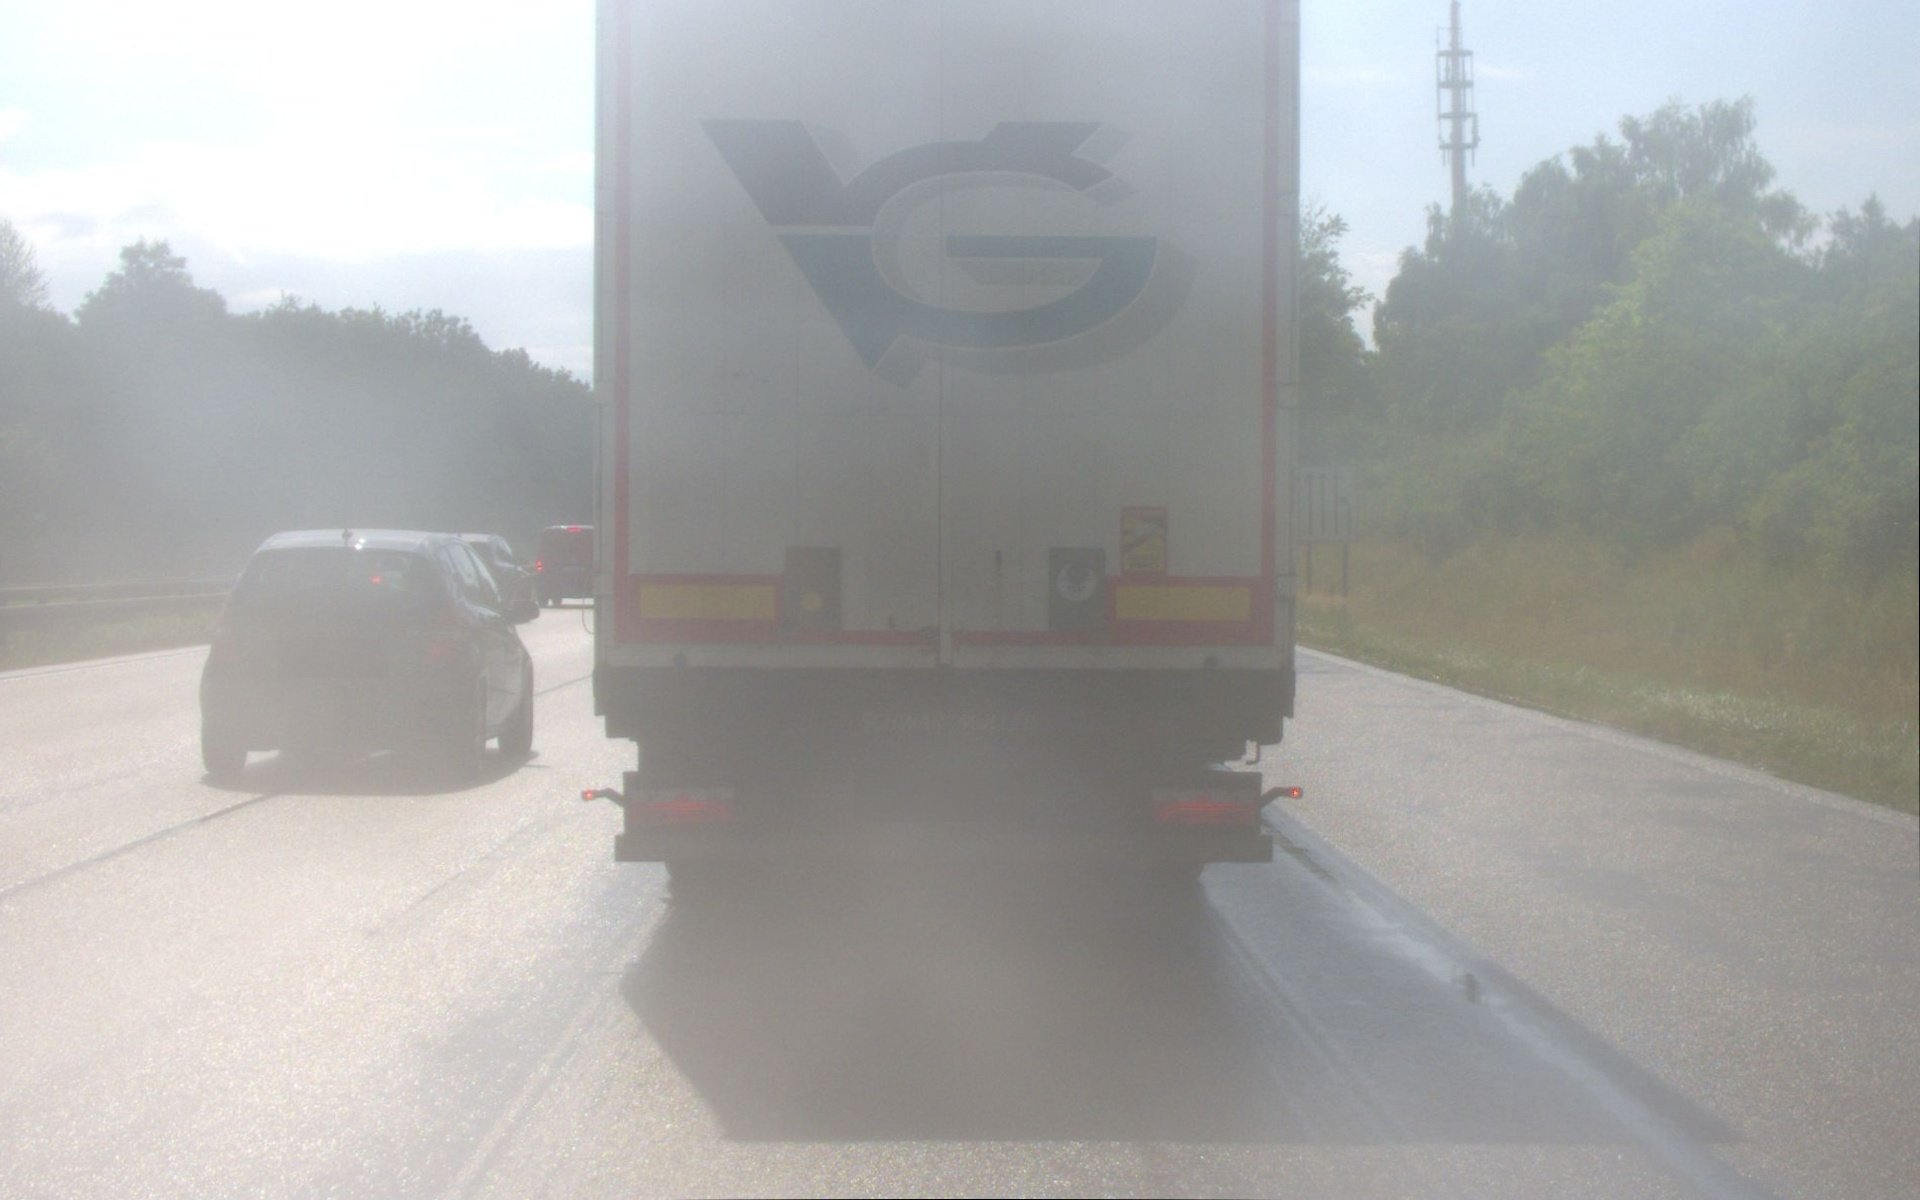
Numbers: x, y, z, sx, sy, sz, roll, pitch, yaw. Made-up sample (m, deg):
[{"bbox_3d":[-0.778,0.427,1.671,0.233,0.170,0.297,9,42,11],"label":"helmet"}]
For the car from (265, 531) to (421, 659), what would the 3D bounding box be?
[{"bbox_3d":[-9.119,-0.086,51.048,1.692,1.798,3.976,1,0,-2],"label":"car"}]

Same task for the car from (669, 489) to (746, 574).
[{"bbox_3d":[-7.993,-2.133,109.288,1.993,2.606,5.259,1,0,1],"label":"car"}]

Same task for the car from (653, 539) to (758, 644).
[{"bbox_3d":[-4.534,-0.166,61.728,1.692,1.798,3.976,1,0,-2],"label":"car"}]

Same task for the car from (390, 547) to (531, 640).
[{"bbox_3d":[-9.357,-0.139,64.722,1.909,1.631,4.617,-1,0,1],"label":"car"}]

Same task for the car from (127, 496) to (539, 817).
[{"bbox_3d":[-4.157,0.329,23.607,2.274,1.948,4.822,1,0,-4],"label":"car"}]

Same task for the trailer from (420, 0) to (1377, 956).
[{"bbox_3d":[-0.330,-0.844,19.114,3.283,3.885,14.129,1,1,-1],"label":"trailer"}]

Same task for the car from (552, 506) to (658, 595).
[{"bbox_3d":[-8.524,-1.175,82.833,1.978,2.047,4.756,1,0,1],"label":"car"}]

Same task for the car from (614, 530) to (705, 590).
[{"bbox_3d":[-8.083,-1.072,92.823,1.993,1.559,4.756,1,0,1],"label":"car"}]
